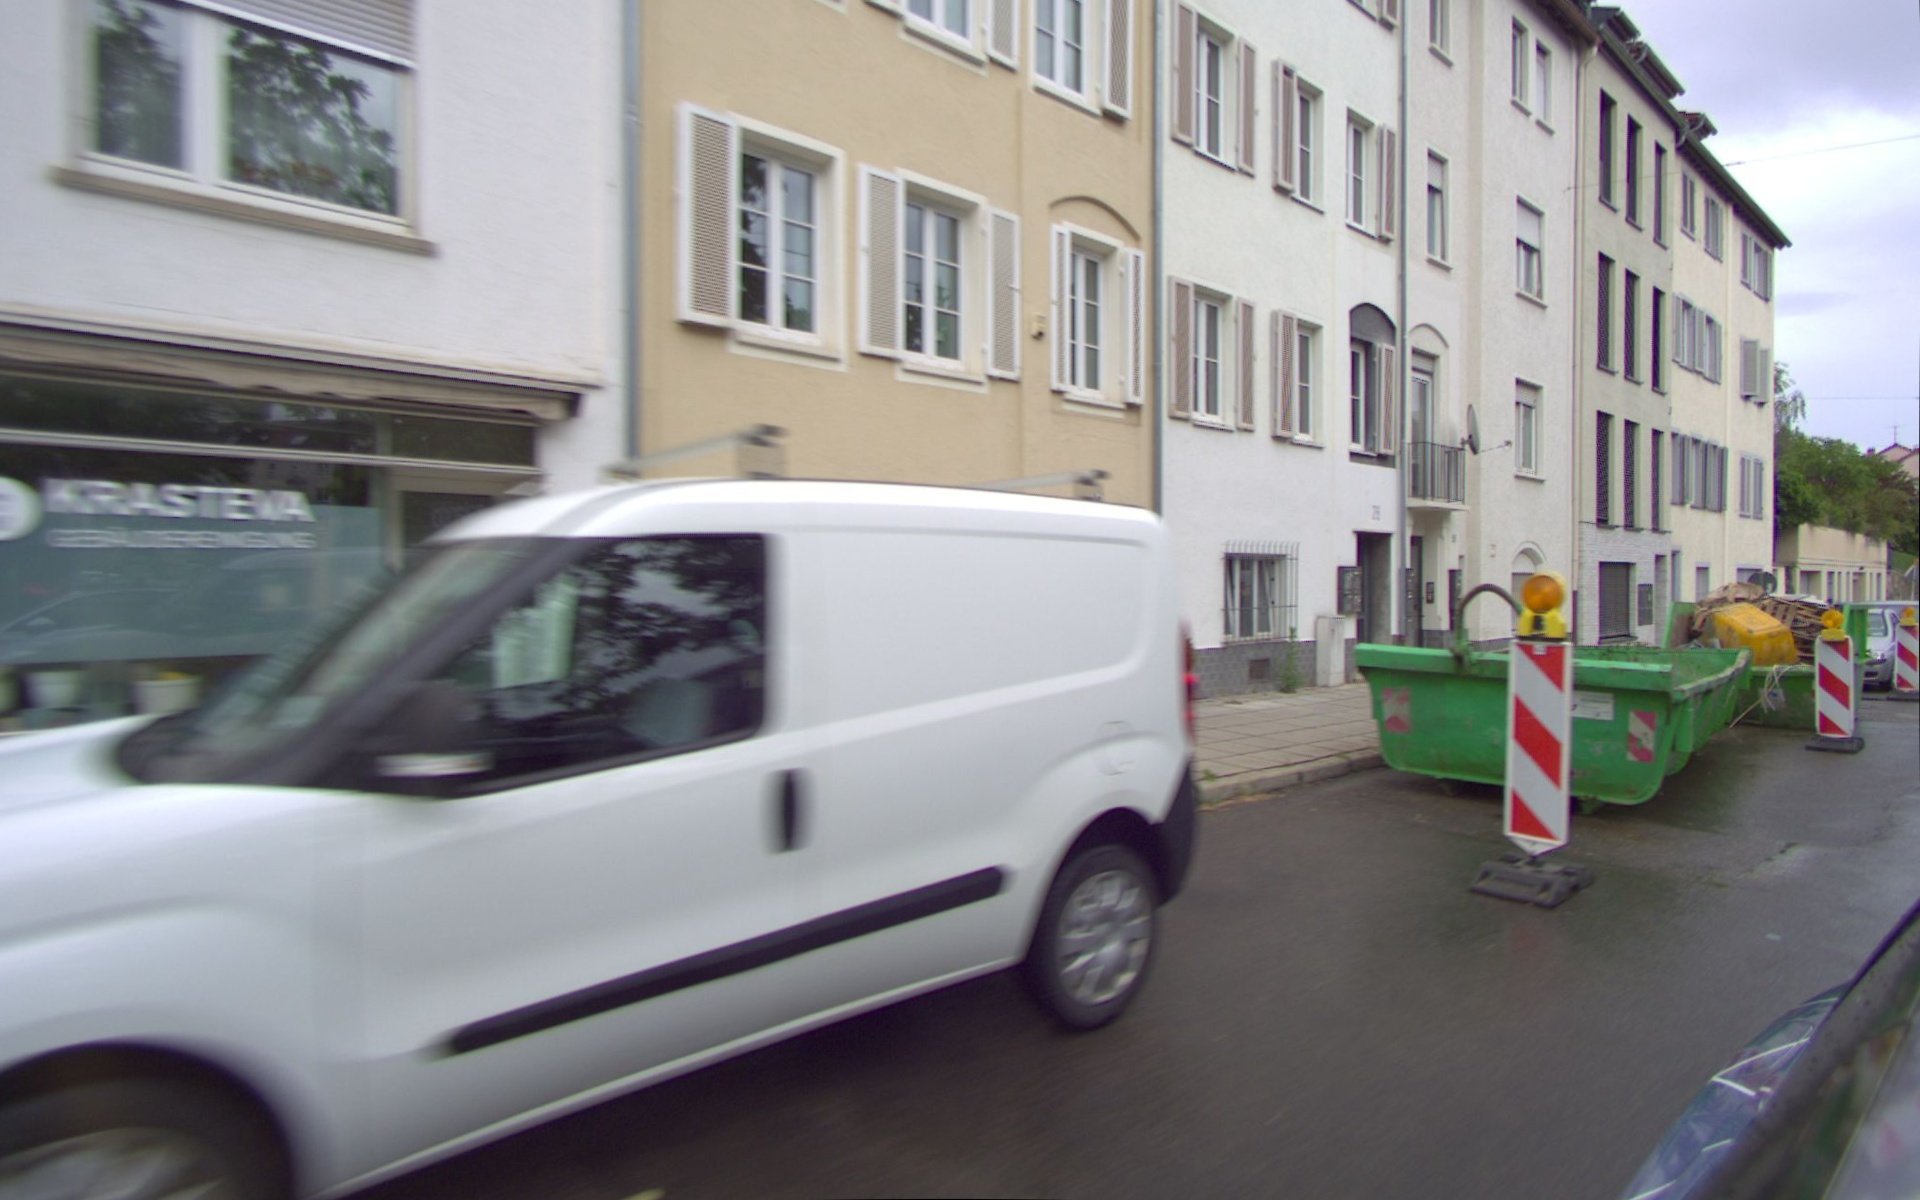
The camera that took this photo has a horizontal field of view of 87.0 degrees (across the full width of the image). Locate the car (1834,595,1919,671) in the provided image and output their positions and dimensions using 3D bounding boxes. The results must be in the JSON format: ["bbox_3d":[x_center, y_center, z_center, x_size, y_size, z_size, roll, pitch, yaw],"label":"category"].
[{"bbox_3d":[20.703,0.695,22.222,3.930,1.544,1.719,1,-1,-41],"label":"car"}]

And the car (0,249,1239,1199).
[{"bbox_3d":[-1.141,0.397,3.166,4.162,1.948,1.822,0,0,-39],"label":"car"}]

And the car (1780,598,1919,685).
[{"bbox_3d":[16.503,0.708,18.531,3.774,1.429,1.629,1,-1,-40],"label":"car"}]

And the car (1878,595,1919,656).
[{"bbox_3d":[24.632,0.633,25.697,3.694,1.472,1.561,1,-1,-42],"label":"car"}]
